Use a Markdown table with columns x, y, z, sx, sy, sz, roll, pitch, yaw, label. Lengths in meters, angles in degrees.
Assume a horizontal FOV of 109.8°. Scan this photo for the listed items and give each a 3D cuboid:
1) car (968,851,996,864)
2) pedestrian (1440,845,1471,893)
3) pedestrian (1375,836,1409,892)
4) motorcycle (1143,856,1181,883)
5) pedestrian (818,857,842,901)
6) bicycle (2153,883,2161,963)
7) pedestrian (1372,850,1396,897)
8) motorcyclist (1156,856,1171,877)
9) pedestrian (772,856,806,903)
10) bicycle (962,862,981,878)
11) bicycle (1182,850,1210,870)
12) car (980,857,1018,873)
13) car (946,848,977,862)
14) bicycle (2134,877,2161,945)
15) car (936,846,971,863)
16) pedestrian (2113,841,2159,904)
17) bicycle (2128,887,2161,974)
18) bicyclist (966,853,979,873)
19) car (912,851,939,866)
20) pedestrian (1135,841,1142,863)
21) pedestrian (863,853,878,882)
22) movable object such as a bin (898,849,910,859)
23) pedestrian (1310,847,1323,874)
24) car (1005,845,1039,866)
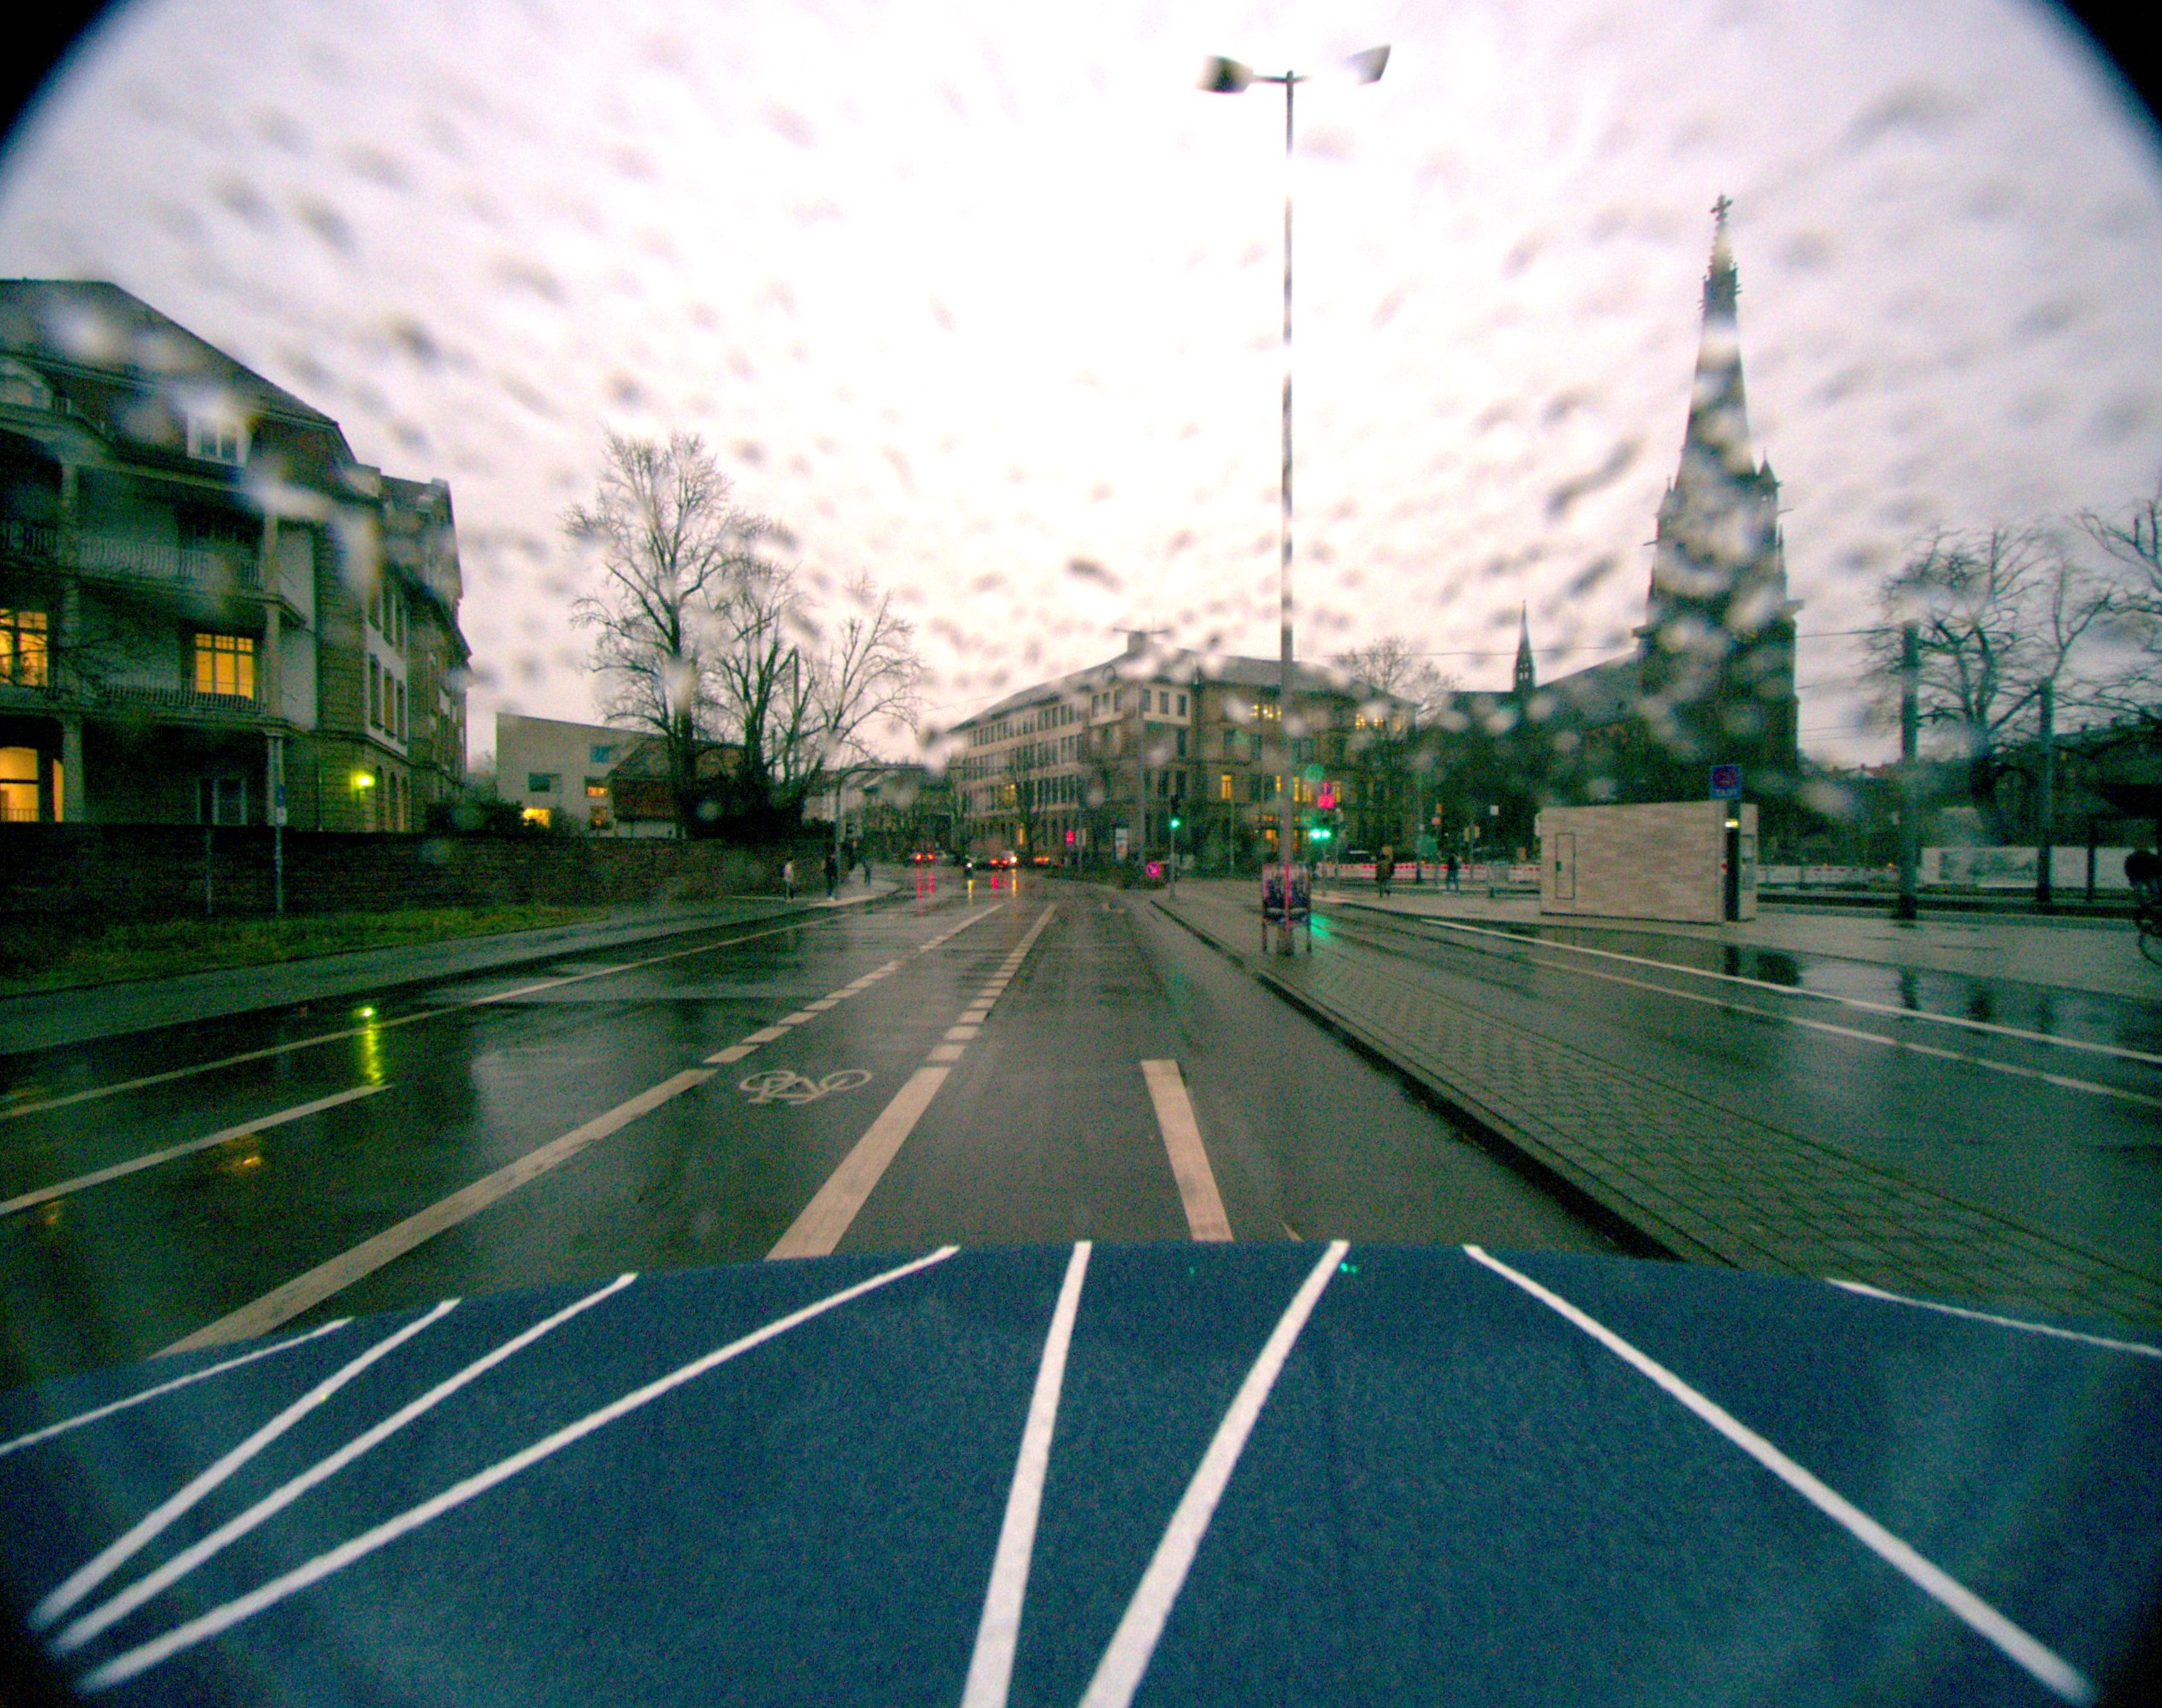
| x | y | z | sx | sy | sz | roll | pitch | yaw | label |
| --- | --- | --- | --- | --- | --- | --- | --- | --- | --- |
| -12.192 | 0.398 | 93.933 | 1.633 | 1.450 | 3.831 | -1 | 2 | 23 | car |
| 14.626 | 0.583 | 29.707 | 0.605 | 1.803 | 0.824 | -4 | 1 | -12 | pedestrian |
| 13.634 | 0.422 | 33.373 | 0.996 | 2.357 | 1.063 | -2 | 3 | -4 | pedestrian |
| 4.645 | 0.849 | 43.784 | 0.833 | 1.488 | 2.308 | -1 | 1 | -36 | motorcycle |
| -9.735 | 0.949 | 29.454 | 0.792 | 1.666 | 0.729 | 1 | 1 | -12 | pedestrian |
| 16.618 | 1.041 | 10.569 | 0.551 | 1.158 | 1.894 | -3 | 3 | -29 | bicycle |
| 11.318 | 0.717 | 28.371 | 0.673 | 1.665 | 0.731 | 0 | 3 | 32 | pedestrian |
| 4.756 | 0.712 | 43.733 | 0.538 | 1.187 | 0.609 | -4 | 3 | -37 | motorcyclist |
| -10.768 | 0.929 | 28.025 | 0.964 | 1.666 | 0.777 | 0 | 1 | -38 | pedestrian |
| -7.737 | 1.104 | 53.542 | 0.725 | 1.084 | 2.281 | -2 | 0 | -23 | bicycle |
| 10.458 | 0.538 | 69.118 | 2.424 | 1.679 | 0.714 | -1 | 3 | 17 | bicycle |
| -7.875 | 1.039 | 72.437 | 1.756 | 1.370 | 4.354 | 1 | 0 | -34 | car |
| -15.308 | 0.141 | 97.731 | 1.819 | 1.531 | 3.983 | 0 | 3 | 29 | car |
| 19.457 | 1.015 | 12.827 | 0.551 | 1.158 | 1.894 | -3 | 3 | -29 | bicycle |
| -16.816 | 0.063 | 100.302 | 1.961 | 2.042 | 4.629 | 0 | 3 | 29 | car |
| 30.193 | 0.517 | 21.750 | 0.715 | 1.747 | 0.715 | -2 | 3 | -34 | pedestrian |
| 15.577 | 1.093 | 10.062 | 0.551 | 1.158 | 1.938 | -3 | 3 | -29 | bicycle |
| -7.638 | 0.624 | 53.547 | 0.718 | 1.335 | 0.718 | -3 | 3 | -20 | bicyclist |
| -17.639 | 0.453 | 86.238 | 1.763 | 1.652 | 4.519 | 1 | 0 | -28 | car |
| 5.515 | -0.204 | 72.806 | 0.571 | 2.003 | 0.587 | -1 | 3 | 5 | pedestrian |
| -12.350 | 0.773 | 44.545 | 0.808 | 1.675 | 1.155 | 1 | 0 | -16 | pedestrian |
| -26.644 | 0.031 | 114.377 | 1.341 | 1.456 | 0.987 | -1 | 3 | 19 | movable object such as a bin |
| 17.645 | 0.497 | 56.895 | 0.740 | 2.003 | 0.646 | 0 | 3 | 31 | pedestrian |
| -6.476 | 0.169 | 83.953 | 1.908 | 2.022 | 4.809 | -1 | 2 | 19 | car |
